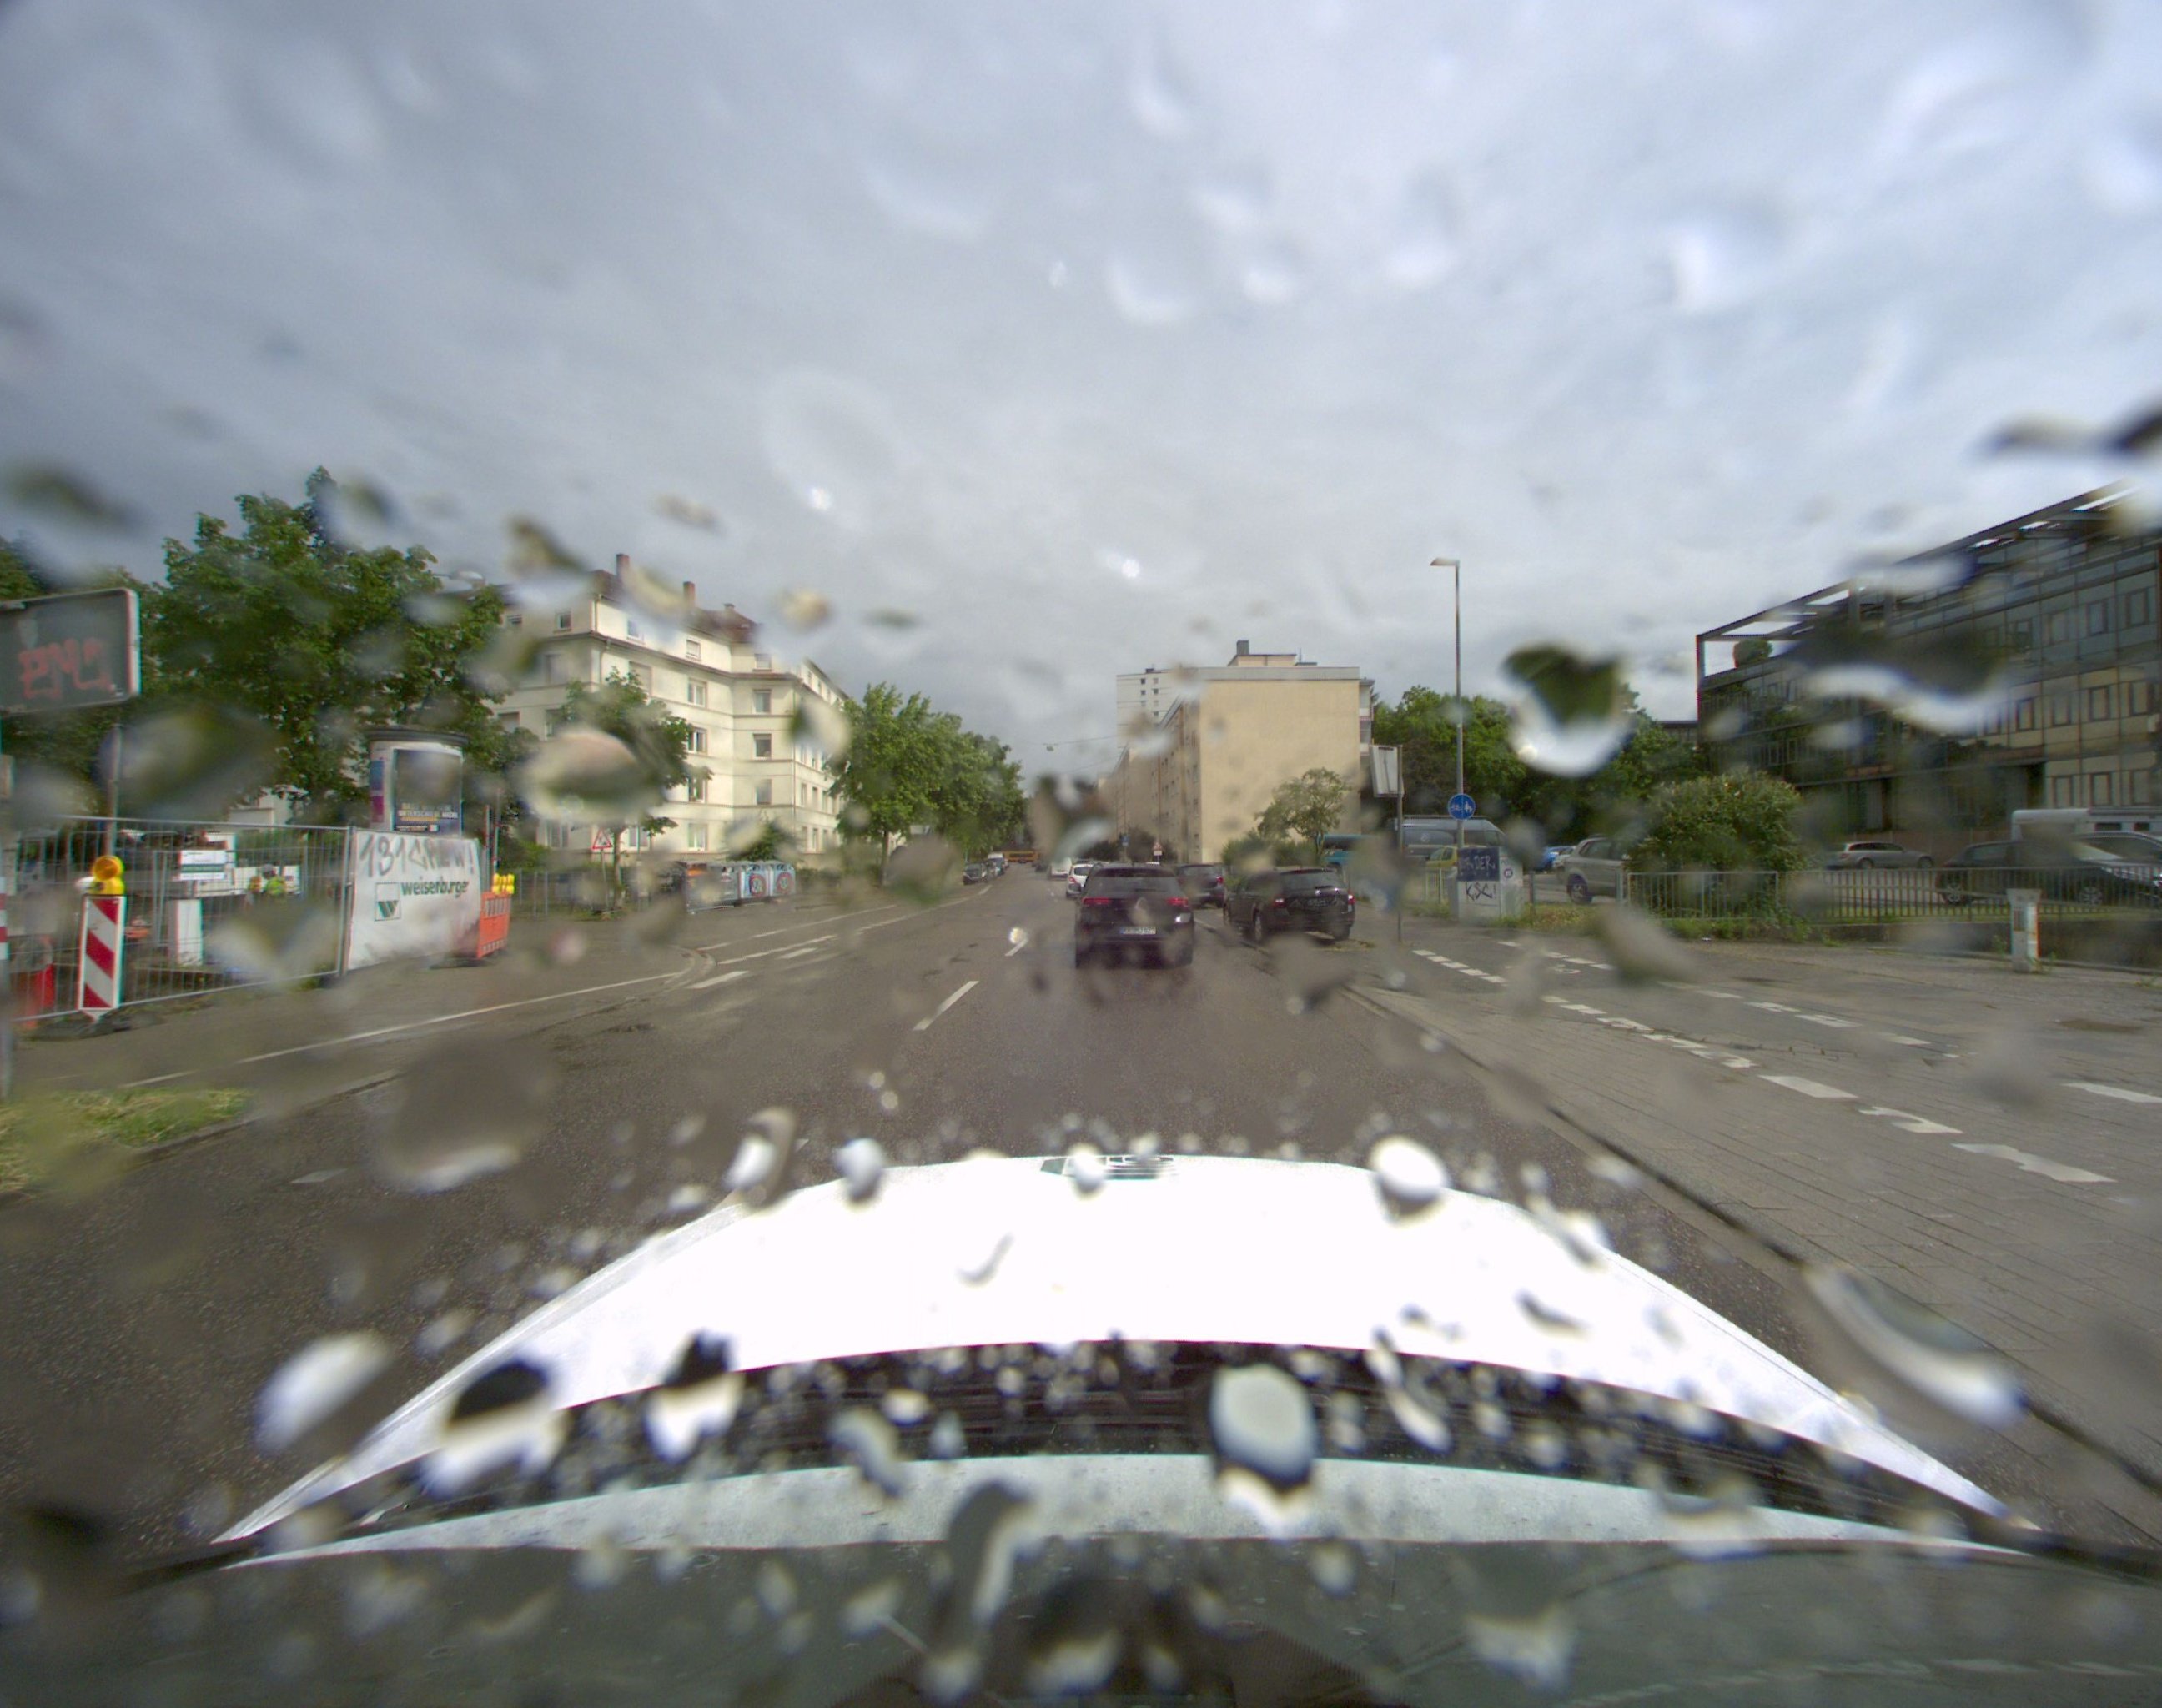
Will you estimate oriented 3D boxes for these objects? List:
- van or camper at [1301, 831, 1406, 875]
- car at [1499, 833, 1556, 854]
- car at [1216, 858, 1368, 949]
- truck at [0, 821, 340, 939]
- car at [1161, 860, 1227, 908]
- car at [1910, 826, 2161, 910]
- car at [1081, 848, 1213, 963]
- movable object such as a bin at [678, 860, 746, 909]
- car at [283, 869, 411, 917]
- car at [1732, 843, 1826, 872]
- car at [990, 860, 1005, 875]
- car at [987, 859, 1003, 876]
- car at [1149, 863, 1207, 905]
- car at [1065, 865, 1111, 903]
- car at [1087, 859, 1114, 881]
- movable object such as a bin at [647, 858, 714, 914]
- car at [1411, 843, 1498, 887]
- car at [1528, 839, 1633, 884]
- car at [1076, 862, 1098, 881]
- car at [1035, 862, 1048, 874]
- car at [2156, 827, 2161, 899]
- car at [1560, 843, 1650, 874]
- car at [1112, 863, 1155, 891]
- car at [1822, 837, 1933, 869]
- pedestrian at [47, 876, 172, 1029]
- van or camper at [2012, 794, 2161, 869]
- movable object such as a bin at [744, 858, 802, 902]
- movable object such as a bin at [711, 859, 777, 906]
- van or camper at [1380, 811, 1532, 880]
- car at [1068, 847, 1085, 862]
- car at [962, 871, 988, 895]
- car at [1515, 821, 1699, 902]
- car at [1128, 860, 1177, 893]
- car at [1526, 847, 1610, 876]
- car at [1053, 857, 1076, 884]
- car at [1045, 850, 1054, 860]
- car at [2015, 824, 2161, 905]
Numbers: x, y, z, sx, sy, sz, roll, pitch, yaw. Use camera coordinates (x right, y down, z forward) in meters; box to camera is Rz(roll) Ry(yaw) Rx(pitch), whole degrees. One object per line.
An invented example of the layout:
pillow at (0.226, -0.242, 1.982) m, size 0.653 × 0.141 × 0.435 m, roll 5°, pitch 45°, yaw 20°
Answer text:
van or camper at (14.160, -0.053, 42.553) m, size 4.740 × 2.131 × 2.323 m, roll -1°, pitch 0°, yaw 2°
car at (32.063, -0.771, 58.543) m, size 3.212 × 1.397 × 1.510 m, roll -2°, pitch -1°, yaw 2°
car at (4.139, 0.896, 16.751) m, size 1.769 × 1.540 × 4.374 m, roll -3°, pitch 0°, yaw -2°
truck at (-28.862, 0.829, 25.198) m, size 9.744 × 3.184 × 3.805 m, roll -2°, pitch -1°, yaw 13°
car at (3.862, 1.007, 28.378) m, size 1.751 × 1.528 × 3.999 m, roll -1°, pitch -1°, yaw 0°
car at (20.449, 0.257, 17.057) m, size 1.821 × 1.527 × 4.428 m, roll -2°, pitch 0°, yaw 4°
car at (0.967, 0.789, 13.932) m, size 1.867 × 1.645 × 4.060 m, roll 1°, pitch -1°, yaw -1°
movable object such as a bin at (-13.158, 1.081, 29.050) m, size 1.525 × 1.656 × 1.535 m, roll -1°, pitch 0°, yaw 18°
car at (-26.319, 1.396, 29.240) m, size 3.474 × 1.585 × 1.670 m, roll -2°, pitch -1°, yaw 12°
car at (37.859, 0.193, 44.233) m, size 3.654 × 1.486 × 1.673 m, roll -1°, pitch -1°, yaw 0°
car at (-9.454, 1.528, 92.548) m, size 1.583 × 1.639 × 3.913 m, roll -2°, pitch 0°, yaw -5°
car at (-9.125, 1.431, 86.545) m, size 1.583 × 1.639 × 3.913 m, roll -2°, pitch 0°, yaw -5°
car at (3.888, 1.188, 33.199) m, size 1.601 × 1.508 × 4.155 m, roll -3°, pitch -1°, yaw -3°
car at (0.270, 1.247, 34.898) m, size 1.808 × 1.503 × 3.998 m, roll 1°, pitch -1°, yaw -1°
car at (1.403, 1.172, 60.750) m, size 1.691 × 1.539 × 4.027 m, roll -2°, pitch 0°, yaw -3°
movable object such as a bin at (-13.497, 1.071, 27.502) m, size 1.525 × 1.824 × 1.269 m, roll -1°, pitch 0°, yaw 18°
car at (13.152, 0.382, 28.893) m, size 1.604 × 1.449 × 3.418 m, roll -2°, pitch 0°, yaw 2°
car at (18.170, 0.278, 29.807) m, size 1.642 × 1.486 × 3.720 m, roll -2°, pitch 0°, yaw 2°
car at (0.536, 1.562, 74.295) m, size 1.602 × 1.672 × 4.025 m, roll -2°, pitch 0°, yaw -4°
car at (-5.290, 1.844, 108.472) m, size 1.602 × 1.510 × 3.542 m, roll -2°, pitch 0°, yaw -5°
car at (26.075, 0.171, 16.858) m, size 1.846 × 1.679 × 4.424 m, roll -1°, pitch 0°, yaw 1°
car at (27.536, 0.236, 42.858) m, size 3.652 × 1.486 × 1.640 m, roll -2°, pitch -1°, yaw 2°
car at (2.868, 1.238, 45.162) m, size 1.713 × 1.452 × 4.251 m, roll 1°, pitch -1°, yaw -5°
car at (38.012, -0.039, 38.919) m, size 3.654 × 1.486 × 1.673 m, roll -1°, pitch -1°, yaw 0°
pedestrian at (-11.004, 1.073, 9.259) m, size 0.727 × 1.630 × 0.676 m, roll 2°, pitch -2°, yaw -38°
van or camper at (37.190, -0.768, 29.364) m, size 4.772 × 2.487 × 2.256 m, roll 1°, pitch -2°, yaw -2°
movable object such as a bin at (-12.146, 1.024, 32.151) m, size 1.525 × 1.662 × 1.466 m, roll -1°, pitch 0°, yaw 18°
movable object such as a bin at (-12.637, 1.064, 30.623) m, size 1.525 × 1.674 × 1.673 m, roll -1°, pitch 0°, yaw 18°
van or camper at (14.730, -0.302, 32.191) m, size 4.981 × 2.555 × 2.174 m, roll -1°, pitch -2°, yaw 0°
car at (-0.525, 0.083, 95.908) m, size 1.835 × 1.608 × 3.675 m, roll -2°, pitch -1°, yaw 0°
car at (-7.284, 1.991, 56.418) m, size 1.583 × 1.506 × 4.057 m, roll -2°, pitch 0°, yaw -5°
car at (12.798, 0.184, 20.173) m, size 1.798 × 1.750 × 4.238 m, roll -1°, pitch 0°, yaw 0°
car at (3.430, 1.085, 39.974) m, size 1.746 × 1.508 × 4.105 m, roll -1°, pitch -1°, yaw -4°
car at (26.870, 0.400, 44.995) m, size 3.652 × 1.486 × 1.640 m, roll -2°, pitch -1°, yaw 2°
car at (-1.383, 1.329, 66.877) m, size 1.831 × 2.103 × 3.997 m, roll 1°, pitch -1°, yaw -2°
car at (-6.165, 0.245, 158.658) m, size 1.662 × 1.838 × 3.996 m, roll -2°, pitch 0°, yaw -3°
car at (23.332, 0.197, 17.411) m, size 1.844 × 1.679 × 4.429 m, roll -2°, pitch 0°, yaw 5°
